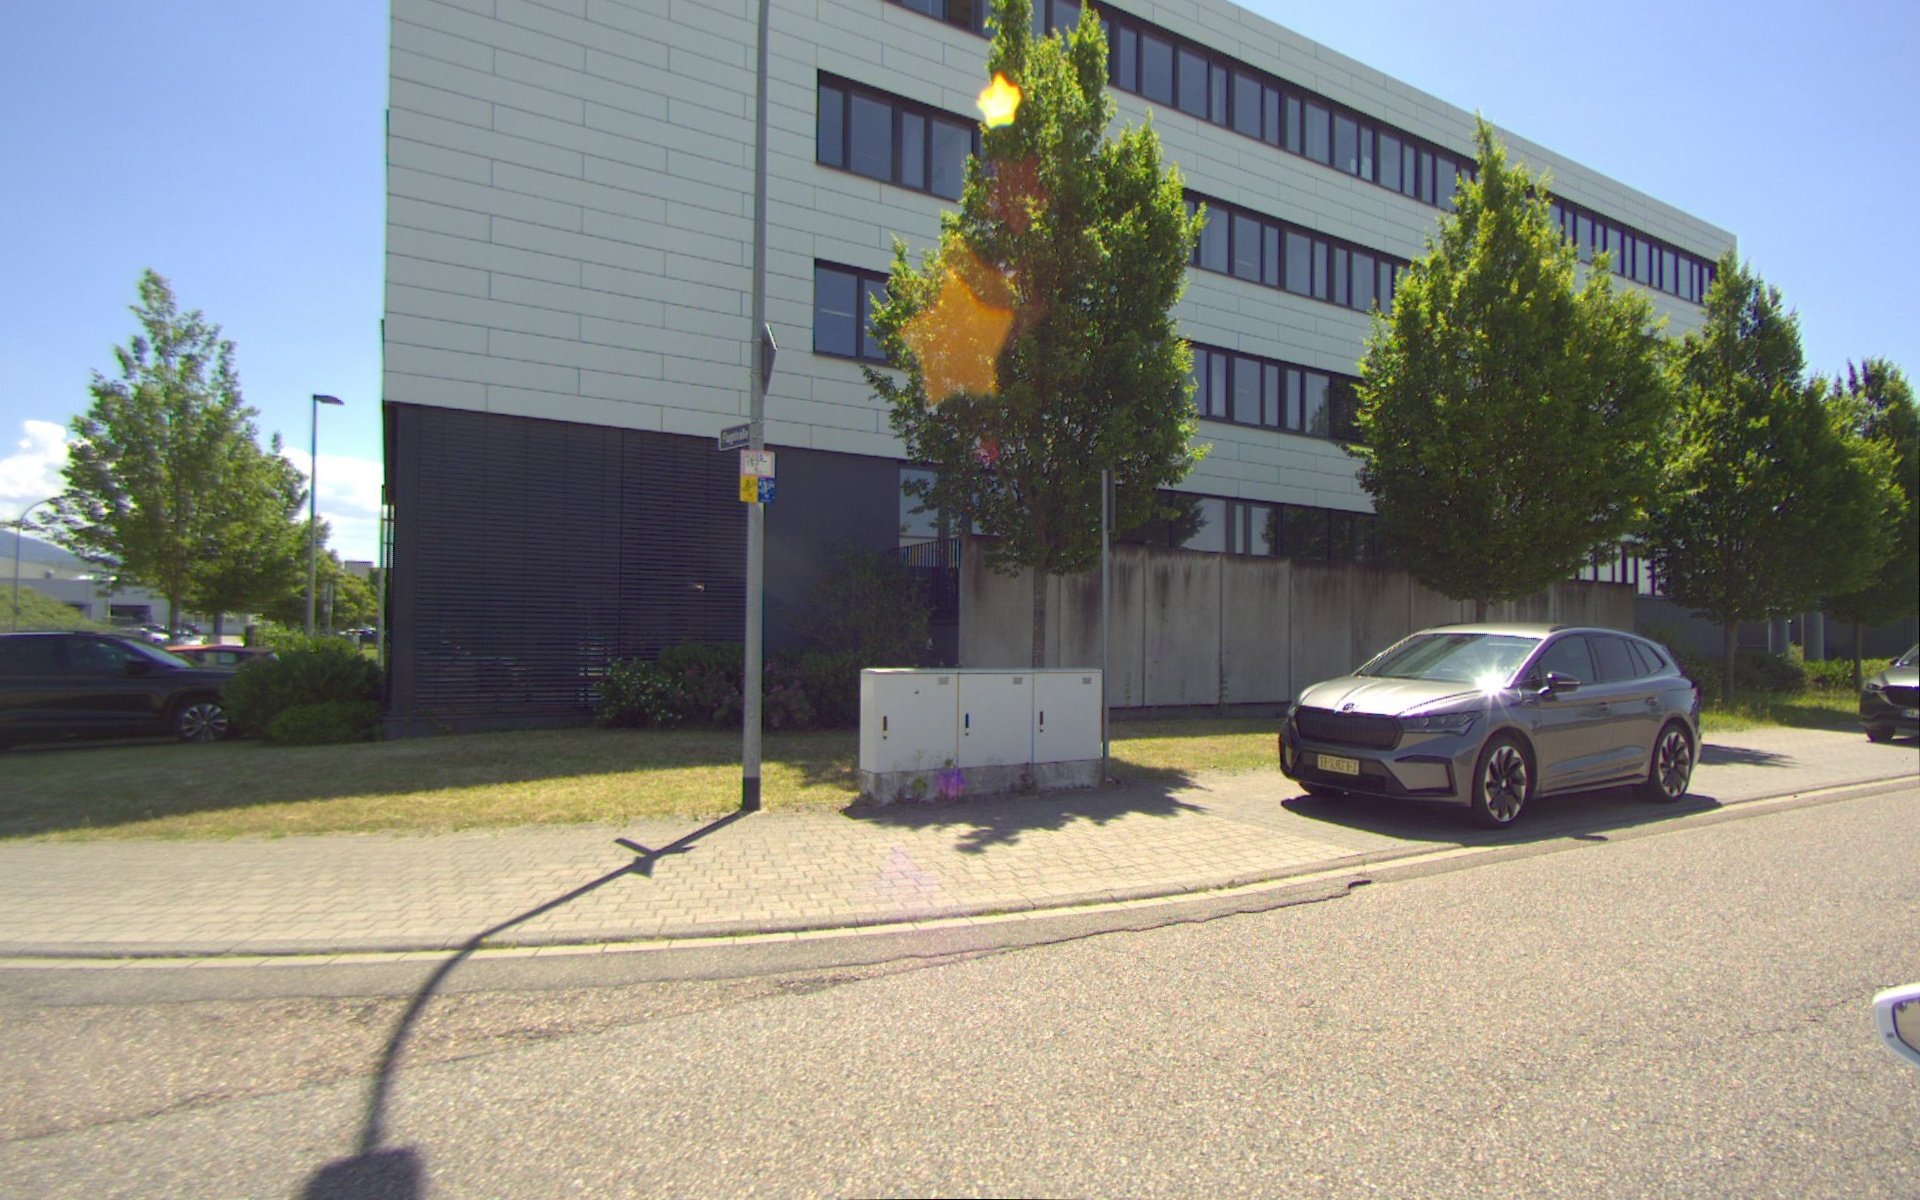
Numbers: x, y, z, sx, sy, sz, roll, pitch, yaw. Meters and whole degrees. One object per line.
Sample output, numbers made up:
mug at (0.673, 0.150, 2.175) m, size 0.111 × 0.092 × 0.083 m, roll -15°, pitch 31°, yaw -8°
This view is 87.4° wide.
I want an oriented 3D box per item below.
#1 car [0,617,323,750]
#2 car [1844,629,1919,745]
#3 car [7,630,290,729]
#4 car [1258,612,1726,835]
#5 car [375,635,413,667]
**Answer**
car at (-12.156, 1.193, 14.472) m, size 4.842 × 1.613 × 1.798 m, roll -2°, pitch -3°, yaw -29°
car at (15.904, 1.357, 15.694) m, size 4.528 × 1.645 × 1.762 m, roll 2°, pitch -1°, yaw -30°
car at (-15.210, 1.434, 19.116) m, size 3.885 × 1.543 × 1.673 m, roll -2°, pitch -1°, yaw -29°
car at (4.954, 0.992, 9.180) m, size 4.430 × 1.608 × 1.762 m, roll 2°, pitch -2°, yaw -31°
car at (-33.682, 3.017, 59.737) m, size 1.845 × 1.658 × 3.804 m, roll 2°, pitch 0°, yaw -31°
